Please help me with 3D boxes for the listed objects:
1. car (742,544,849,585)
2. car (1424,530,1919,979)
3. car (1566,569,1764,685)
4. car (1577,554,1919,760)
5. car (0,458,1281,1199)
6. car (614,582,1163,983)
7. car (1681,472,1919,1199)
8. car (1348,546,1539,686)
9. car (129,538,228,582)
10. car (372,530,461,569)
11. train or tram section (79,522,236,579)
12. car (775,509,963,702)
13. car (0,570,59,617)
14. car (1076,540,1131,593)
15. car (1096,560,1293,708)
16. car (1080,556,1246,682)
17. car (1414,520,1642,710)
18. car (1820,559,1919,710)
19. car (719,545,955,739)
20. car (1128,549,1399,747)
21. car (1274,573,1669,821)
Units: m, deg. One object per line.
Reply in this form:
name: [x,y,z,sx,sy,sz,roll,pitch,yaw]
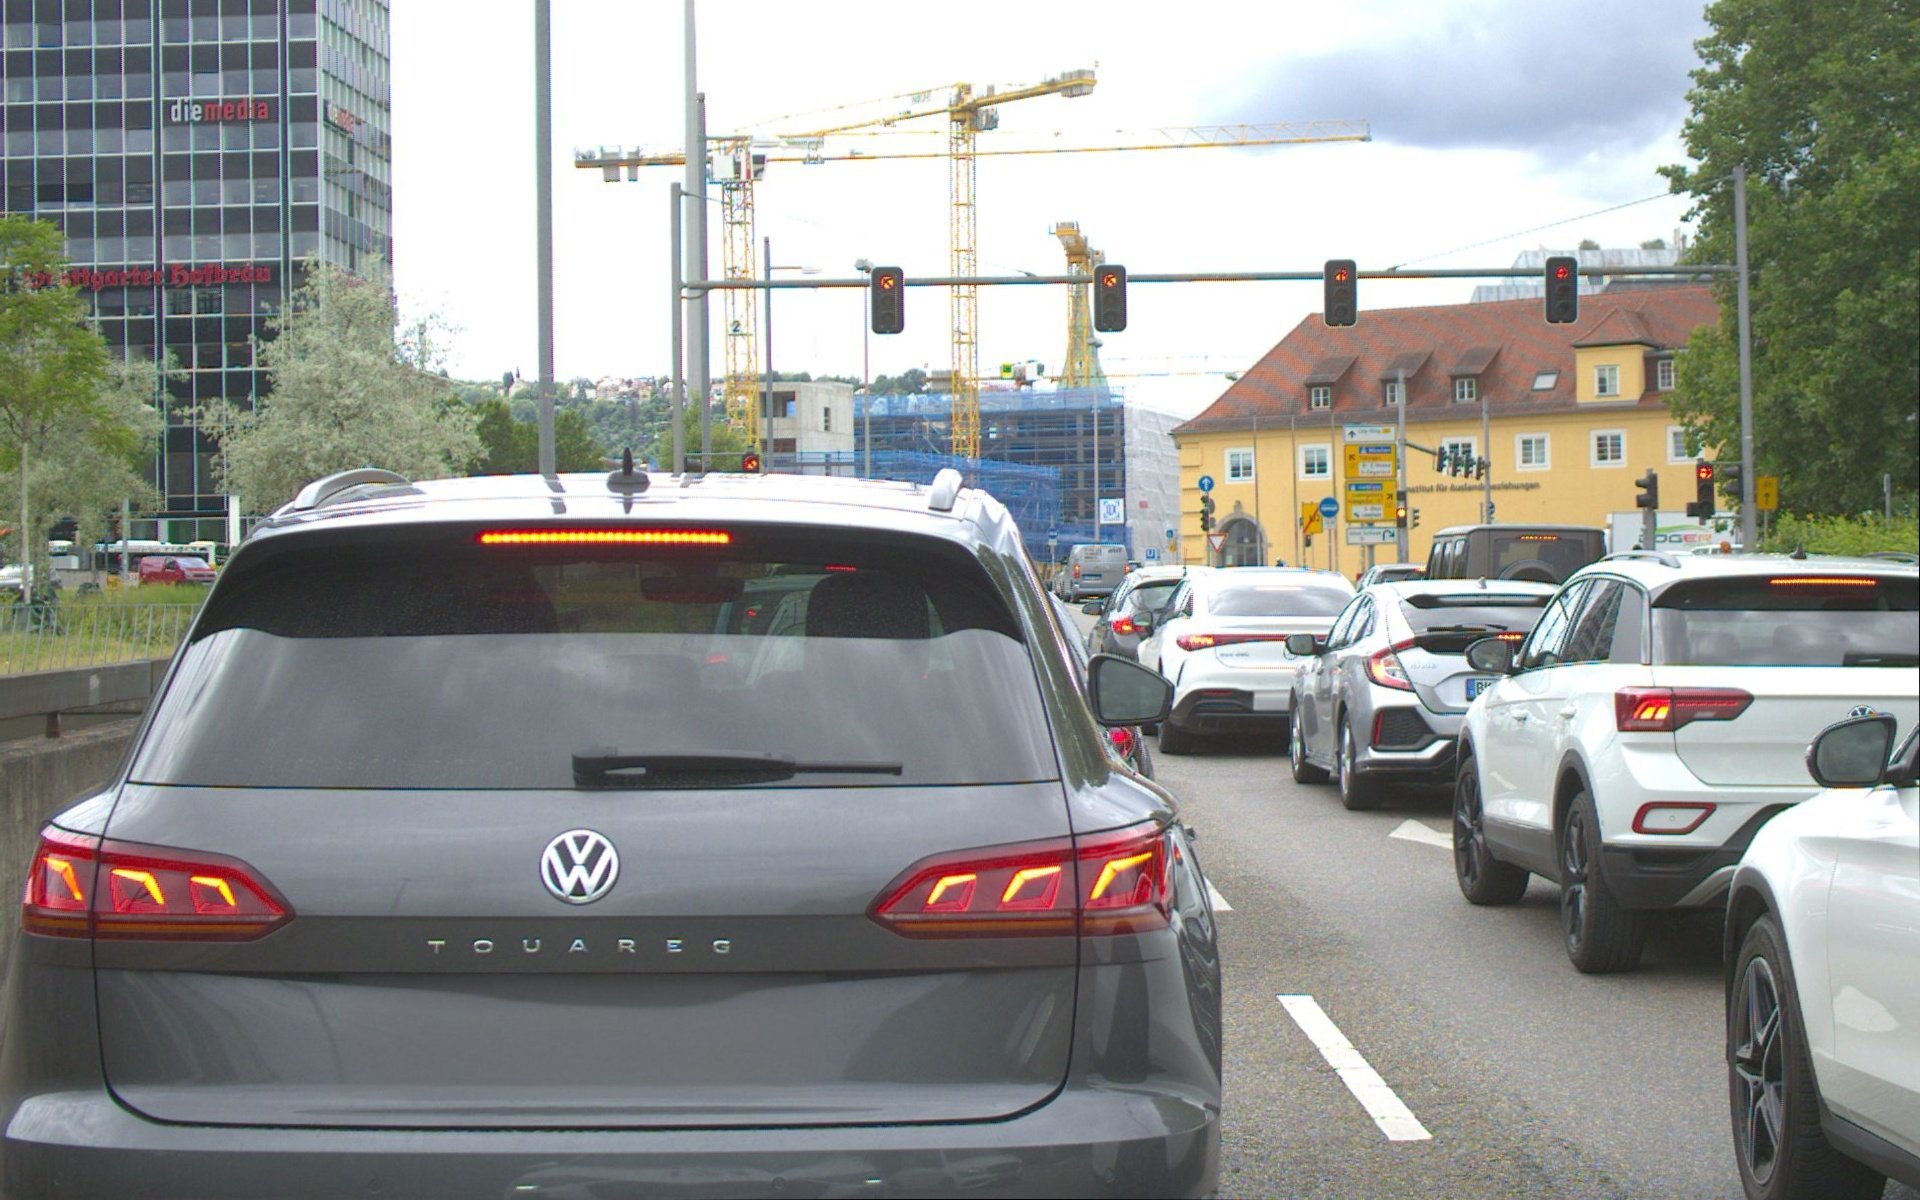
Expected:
car: [-6.791,-1.472,141.772,4.222,1.598,1.749,1,0,36]
car: [3.151,0.532,14.128,1.926,1.545,4.489,0,0,1]
car: [9.344,0.345,45.791,1.757,1.442,3.634,1,0,-2]
car: [6.710,0.424,29.494,1.993,1.634,4.305,0,1,-1]
car: [-0.570,0.608,6.671,1.951,1.646,4.000,0,1,-1]
car: [-0.287,0.652,14.408,1.951,1.379,3.931,1,1,-1]
car: [2.715,0.588,6.220,1.926,1.648,4.490,0,1,1]
car: [6.230,0.190,44.701,1.910,1.691,4.012,1,0,0]
car: [-36.752,-1.895,161.661,4.687,2.006,1.996,1,3,38]
car: [-28.813,-2.681,182.267,4.454,2.007,1.996,1,-1,34]
train or tram section: [-44.664,-2.771,191.224,8.935,2.999,2.592,1,-1,28]
car: [-0.996,0.037,38.569,1.951,2.011,3.931,1,1,-1]
car: [-31.365,-0.212,114.746,1.732,1.489,3.595,1,-1,-2]
car: [4.631,-1.073,111.454,1.619,1.622,4.000,1,-1,0]
car: [2.513,0.352,37.753,1.926,1.524,4.047,0,0,1]
car: [2.557,0.230,44.041,1.926,1.524,4.047,0,0,1]
car: [6.394,0.158,39.120,1.910,2.007,4.012,1,0,0]
car: [10.177,0.365,35.226,1.932,1.455,4.526,1,0,5]
car: [-1.067,0.333,31.036,1.951,1.594,3.931,1,1,-1]
car: [2.467,0.366,28.932,1.926,1.524,4.489,0,0,1]
car: [3.176,0.558,22.208,1.926,1.427,4.489,0,0,1]
